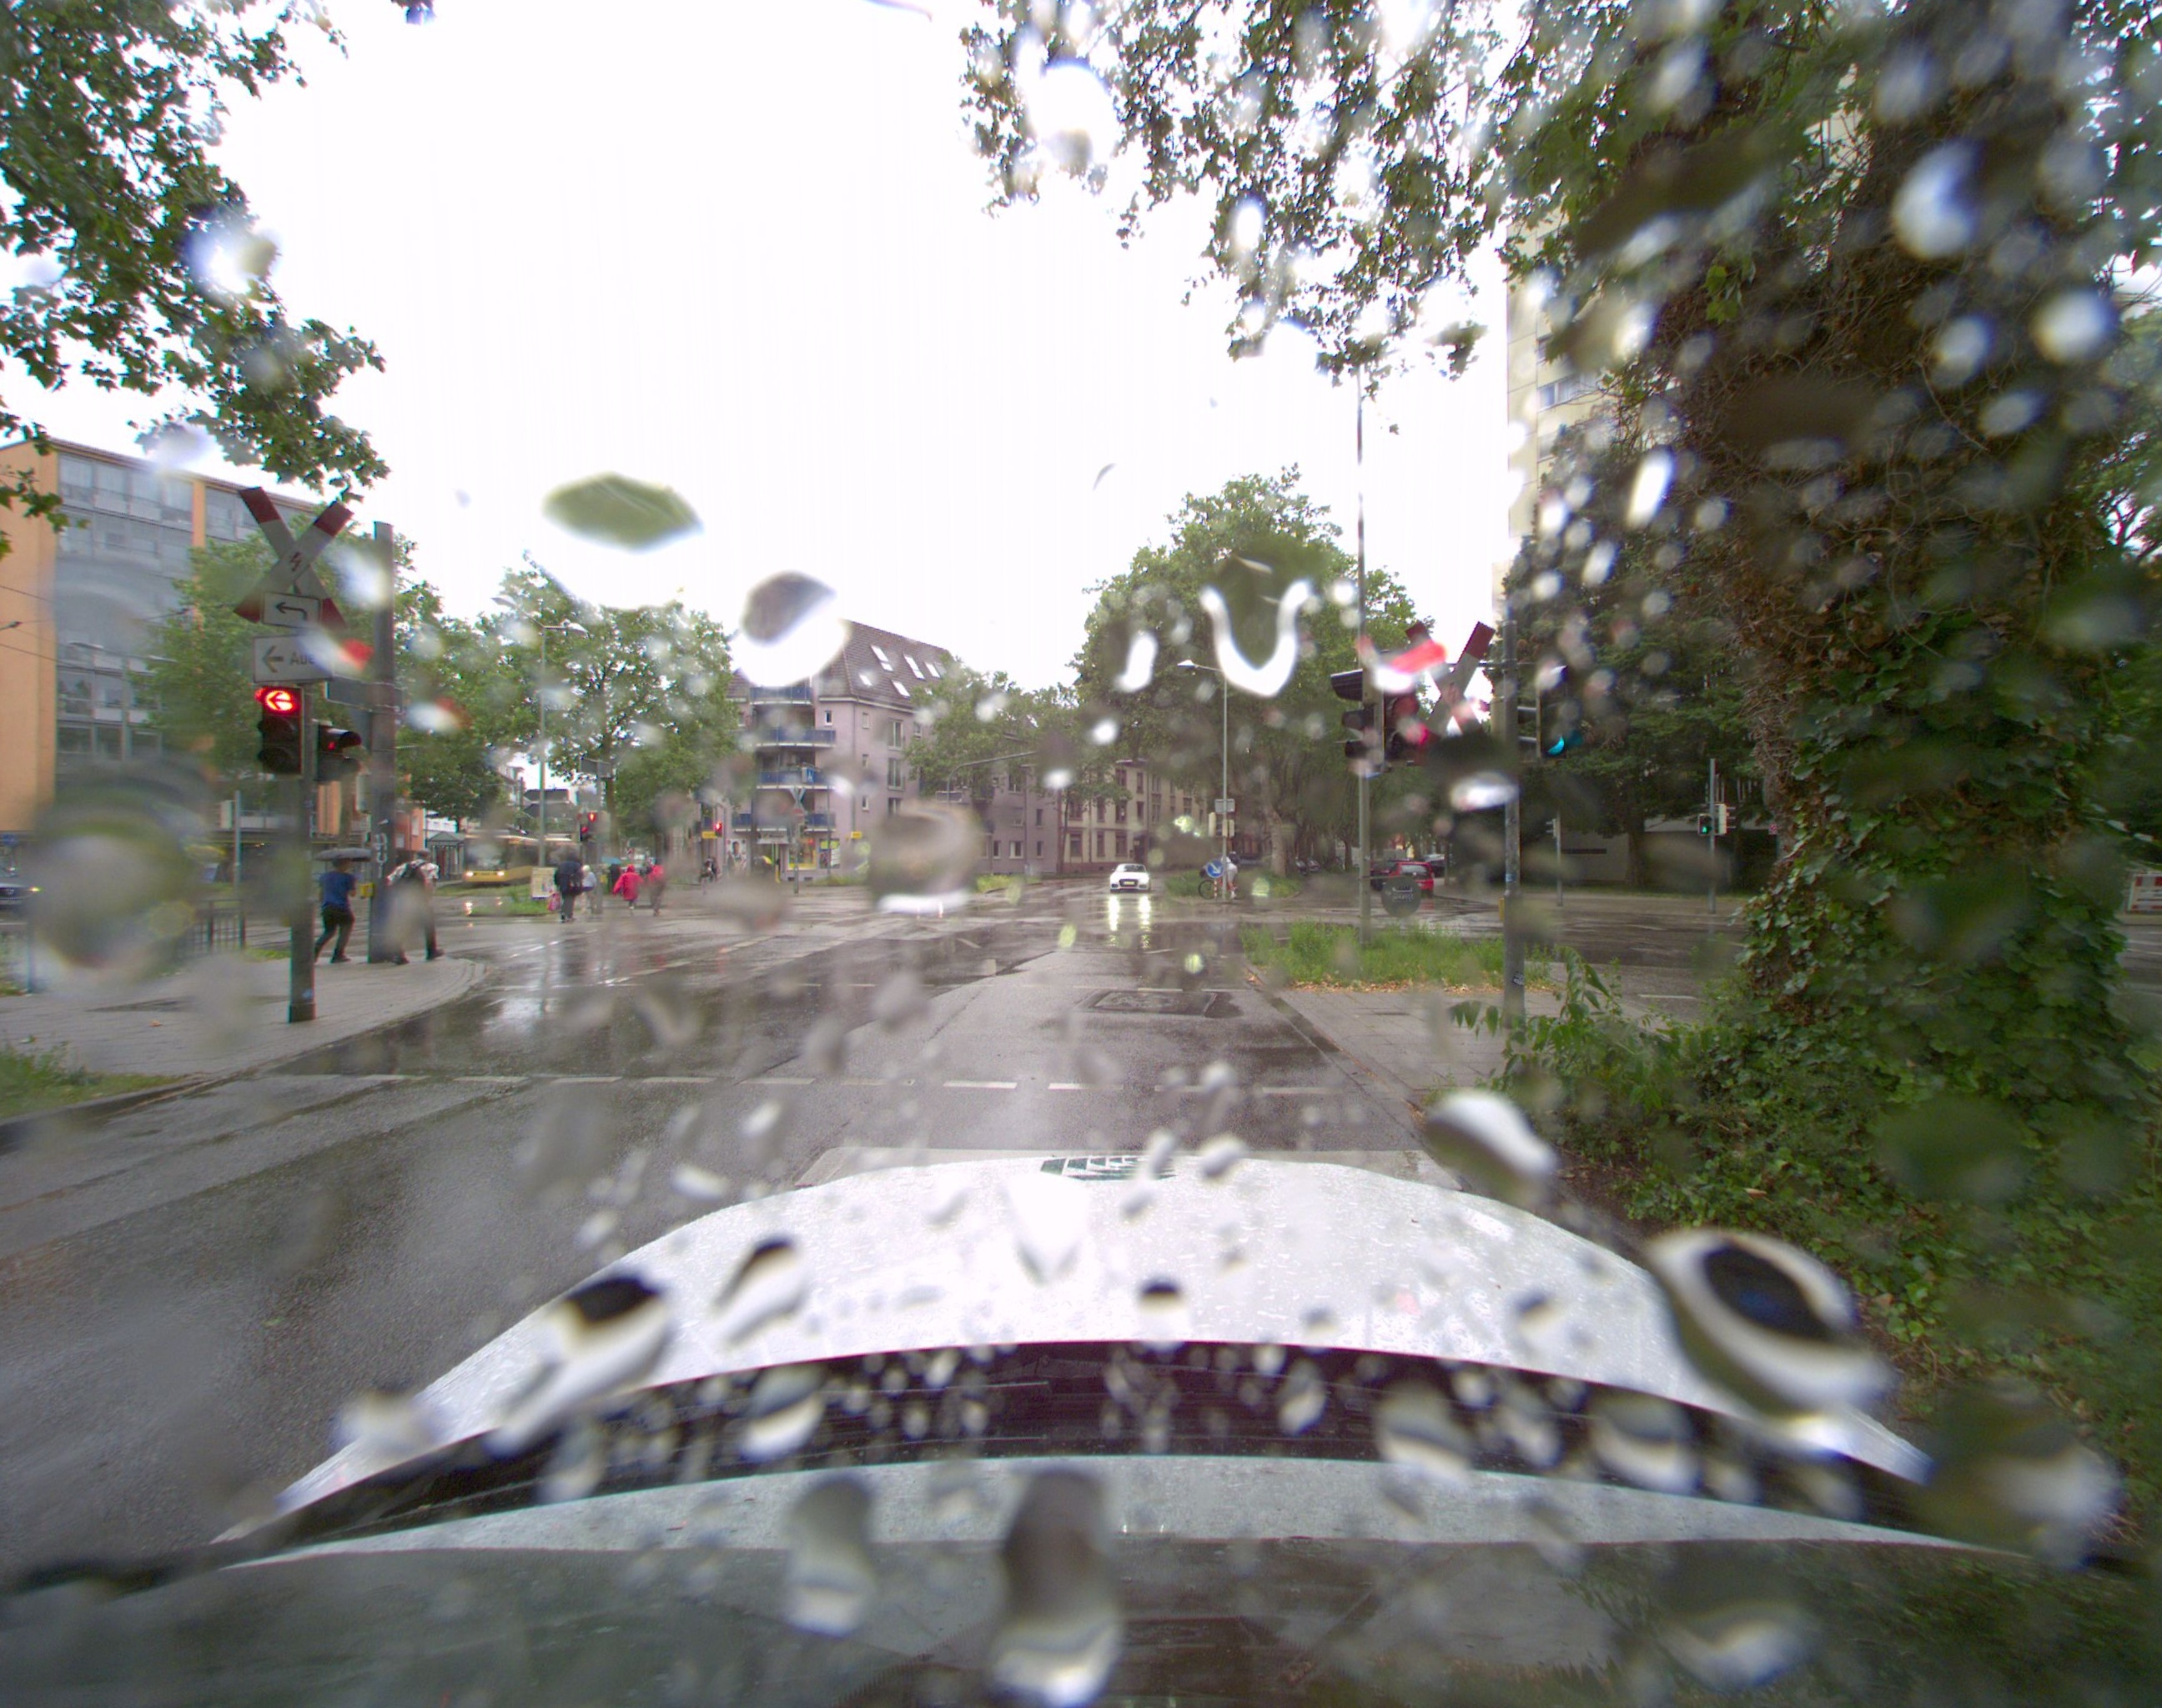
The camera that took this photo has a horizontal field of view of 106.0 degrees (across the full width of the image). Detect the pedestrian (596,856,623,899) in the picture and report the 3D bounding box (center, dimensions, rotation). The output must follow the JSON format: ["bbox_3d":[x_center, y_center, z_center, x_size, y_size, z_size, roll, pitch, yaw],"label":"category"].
[{"bbox_3d":[-19.930,0.968,34.438,0.962,1.766,0.944,0,-1,-28],"label":"pedestrian"}]

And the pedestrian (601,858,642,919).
[{"bbox_3d":[-11.765,0.874,20.852,0.681,1.520,0.658,-1,0,-5],"label":"pedestrian"}]

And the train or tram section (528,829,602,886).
[{"bbox_3d":[-36.776,0.259,58.606,2.875,3.545,15.240,0,0,-26],"label":"train or tram section"}]

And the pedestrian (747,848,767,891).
[{"bbox_3d":[-14.267,0.671,35.849,0.791,1.855,0.676,0,0,-22],"label":"pedestrian"}]

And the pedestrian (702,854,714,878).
[{"bbox_3d":[-24.899,0.816,54.342,0.677,1.600,0.959,0,-1,-29],"label":"pedestrian"}]

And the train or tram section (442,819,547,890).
[{"bbox_3d":[-36.403,0.123,51.283,2.897,3.768,17.089,0,-1,-28],"label":"train or tram section"}]

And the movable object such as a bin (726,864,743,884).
[{"bbox_3d":[-22.224,1.276,52.256,0.748,1.236,0.667,0,-1,0],"label":"movable object such as a bin"}]

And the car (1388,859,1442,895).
[{"bbox_3d":[14.828,0.985,36.341,1.778,1.498,4.017,0,0,16],"label":"car"}]

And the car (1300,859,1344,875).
[{"bbox_3d":[23.140,1.263,78.267,3.958,1.547,2.008,-1,-1,14],"label":"car"}]

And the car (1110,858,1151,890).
[{"bbox_3d":[2.386,0.940,39.170,1.876,1.436,4.004,0,0,4],"label":"car"}]

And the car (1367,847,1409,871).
[{"bbox_3d":[38.992,0.653,103.574,2.006,2.948,4.726,0,-1,-29],"label":"car"}]

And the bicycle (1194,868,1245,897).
[{"bbox_3d":[5.191,1.075,30.617,1.862,1.081,0.658,-1,-1,9],"label":"bicycle"}]

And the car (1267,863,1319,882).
[{"bbox_3d":[16.941,1.490,65.196,3.958,1.486,2.008,-1,-1,14],"label":"car"}]

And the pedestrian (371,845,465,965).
[{"bbox_3d":[-10.102,0.742,12.443,0.867,1.755,0.826,0,0,-18],"label":"pedestrian"}]

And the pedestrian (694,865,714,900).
[{"bbox_3d":[-15.356,1.149,33.152,0.653,1.396,0.774,0,0,-33],"label":"pedestrian"}]

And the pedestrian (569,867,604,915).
[{"bbox_3d":[-14.150,1.045,23.332,0.657,1.349,0.706,0,0,-12],"label":"pedestrian"}]

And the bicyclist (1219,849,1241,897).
[{"bbox_3d":[5.587,0.719,30.558,0.790,1.786,0.699,-1,-1,9],"label":"bicyclist"}]

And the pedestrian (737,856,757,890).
[{"bbox_3d":[-21.345,1.218,52.005,0.905,2.151,0.887,0,-1,2],"label":"pedestrian"}]

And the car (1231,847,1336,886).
[{"bbox_3d":[8.082,0.518,32.588,3.958,1.486,2.008,-1,-1,14],"label":"car"}]

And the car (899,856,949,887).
[{"bbox_3d":[-8.005,0.858,41.848,1.745,1.512,3.839,0,0,1],"label":"car"}]

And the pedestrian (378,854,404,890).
[{"bbox_3d":[-34.689,0.889,40.942,0.965,1.766,0.941,0,-1,-39],"label":"pedestrian"}]

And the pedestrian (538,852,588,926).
[{"bbox_3d":[-12.603,0.835,19.815,0.844,1.698,0.680,-4,3,-42],"label":"pedestrian"}]

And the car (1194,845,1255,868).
[{"bbox_3d":[9.456,0.156,53.586,3.838,1.486,1.723,-1,-1,14],"label":"car"}]

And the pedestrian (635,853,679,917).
[{"bbox_3d":[-11.158,0.808,21.449,0.728,1.624,0.816,-1,1,-5],"label":"pedestrian"}]

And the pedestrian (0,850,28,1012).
[{"bbox_3d":[-11.849,0.821,8.529,0.684,1.729,0.752,0,0,-16],"label":"pedestrian"}]

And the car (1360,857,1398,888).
[{"bbox_3d":[17.327,1.068,47.432,1.769,1.727,4.017,-1,-1,16],"label":"car"}]

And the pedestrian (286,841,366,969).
[{"bbox_3d":[-11.580,0.739,12.504,0.876,1.864,0.881,0,0,-43],"label":"pedestrian"}]

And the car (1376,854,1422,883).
[{"bbox_3d":[15.896,0.701,40.877,1.770,1.348,3.945,0,1,16],"label":"car"}]

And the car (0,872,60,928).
[{"bbox_3d":[-32.218,1.319,23.602,3.994,1.530,1.615,0,1,12],"label":"car"}]

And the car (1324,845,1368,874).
[{"bbox_3d":[28.325,0.598,87.223,2.040,2.948,4.742,0,-1,-18],"label":"car"}]
